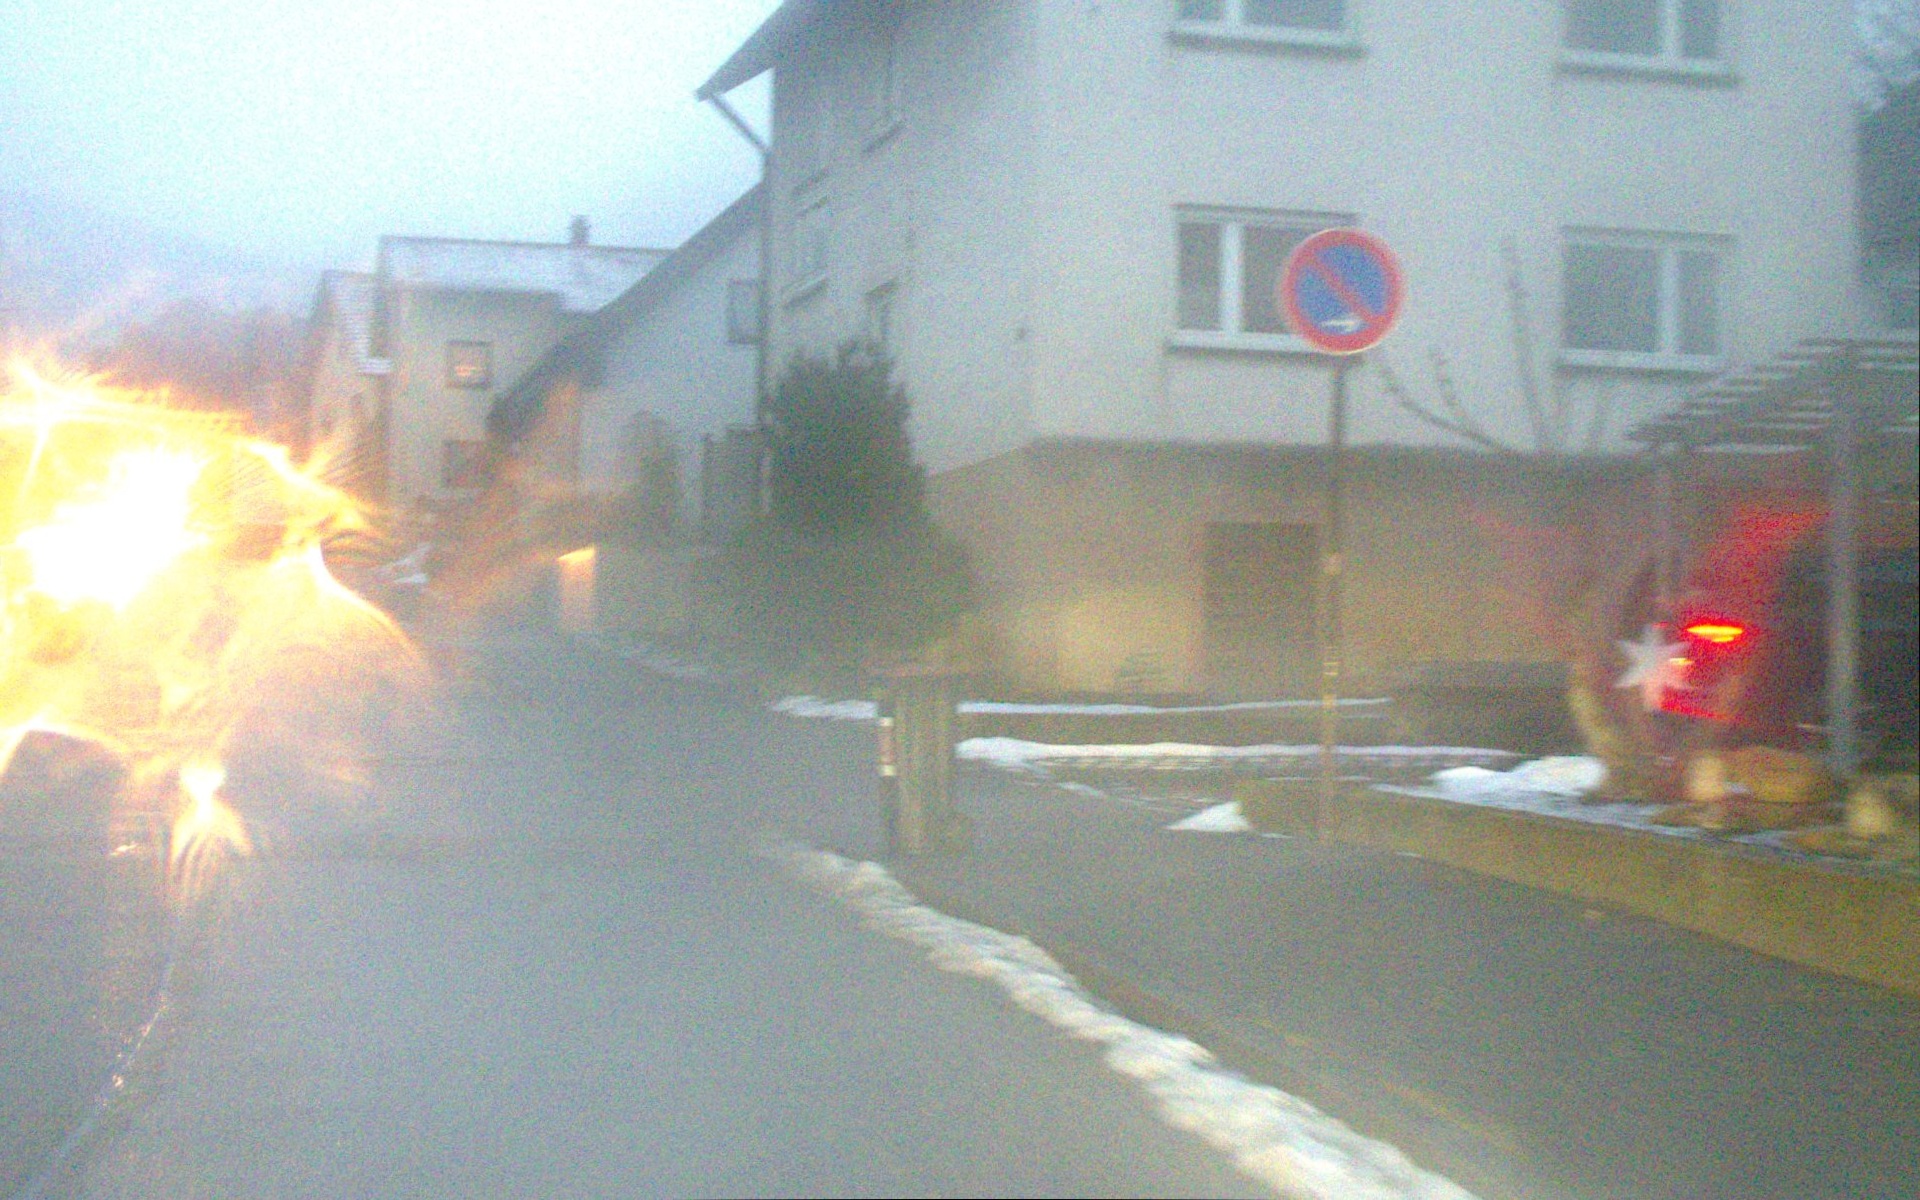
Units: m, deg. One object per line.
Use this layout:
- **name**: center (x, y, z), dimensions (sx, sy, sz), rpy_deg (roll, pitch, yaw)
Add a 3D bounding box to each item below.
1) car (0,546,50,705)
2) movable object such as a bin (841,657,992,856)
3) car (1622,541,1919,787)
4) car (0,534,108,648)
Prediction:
- **car**: center (-9.554, 0.209, 32.663), dimensions (1.618, 1.433, 3.657), rpy_deg (0, 1, -13)
- **movable object such as a bin**: center (-0.217, 0.751, 16.664), dimensions (0.637, 0.914, 0.686), rpy_deg (1, 1, -7)
- **car**: center (6.988, 0.449, 24.507), dimensions (3.986, 1.612, 2.001), rpy_deg (1, 2, -7)
- **car**: center (-12.075, -0.146, 44.547), dimensions (1.877, 1.389, 5.076), rpy_deg (0, 1, -13)
